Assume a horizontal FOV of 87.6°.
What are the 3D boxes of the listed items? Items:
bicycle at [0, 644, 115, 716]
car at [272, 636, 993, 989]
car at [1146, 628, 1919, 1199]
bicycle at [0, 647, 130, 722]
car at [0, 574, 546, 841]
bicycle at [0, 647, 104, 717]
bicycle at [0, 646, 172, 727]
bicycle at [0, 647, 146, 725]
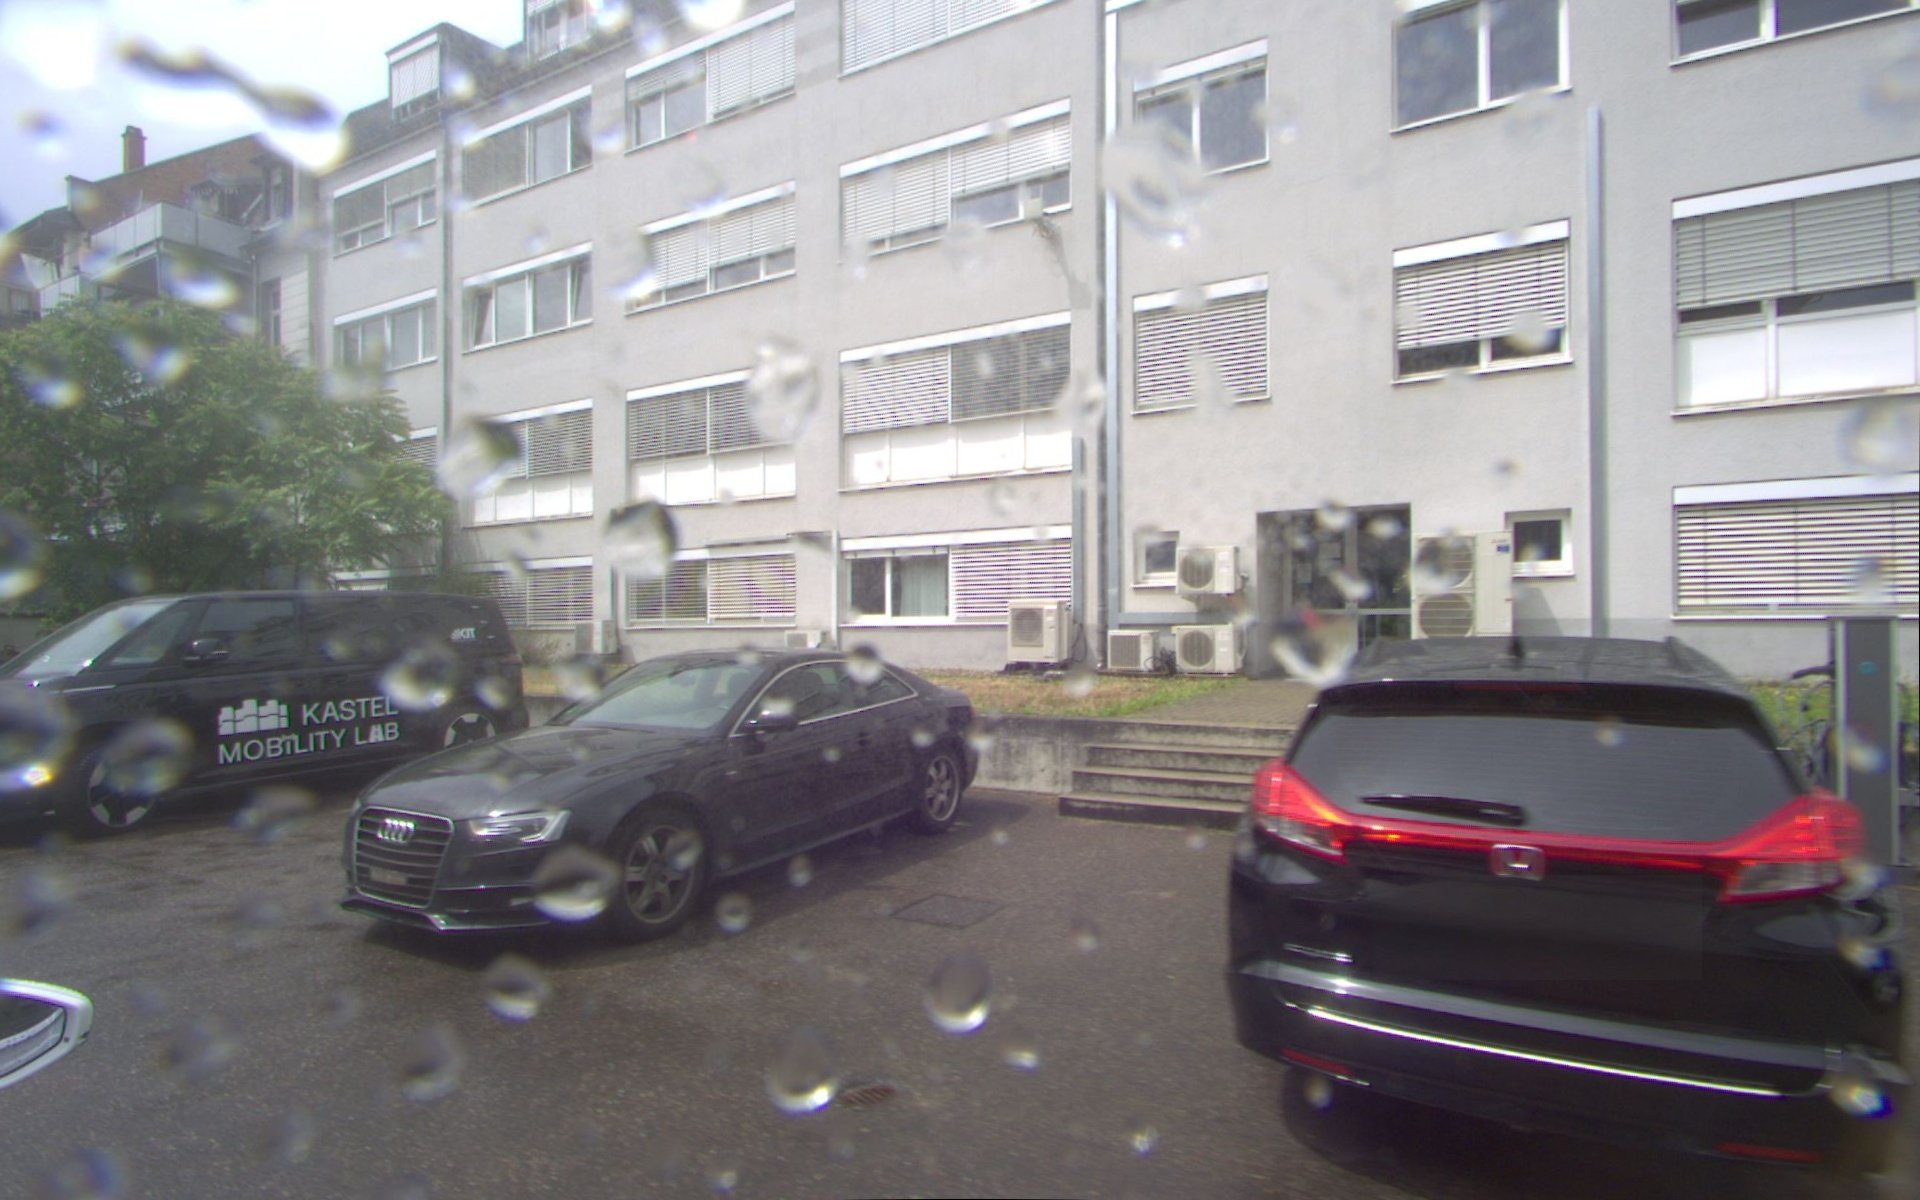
[{"bbox_3d":[-15.046,1.237,15.558,0.680,1.092,2.838,1,-3,33],"label":"bicycle"},{"bbox_3d":[-1.595,0.956,6.458,1.832,1.366,4.349,0,-1,30],"label":"car"},{"bbox_3d":[2.368,0.861,4.090,1.911,1.419,4.165,-1,-1,29],"label":"car"},{"bbox_3d":[-14.465,1.268,15.159,0.680,1.092,2.838,1,-3,33],"label":"bicycle"},{"bbox_3d":[-6.554,0.780,9.343,2.079,1.857,4.703,-1,-1,30],"label":"car"},{"bbox_3d":[-15.498,1.291,15.864,0.680,1.092,2.838,1,-3,33],"label":"bicycle"},{"bbox_3d":[-13.157,1.212,14.282,0.680,1.092,2.918,1,-3,33],"label":"bicycle"},{"bbox_3d":[-13.881,1.250,14.749,0.680,1.092,2.838,1,-3,33],"label":"bicycle"}]
